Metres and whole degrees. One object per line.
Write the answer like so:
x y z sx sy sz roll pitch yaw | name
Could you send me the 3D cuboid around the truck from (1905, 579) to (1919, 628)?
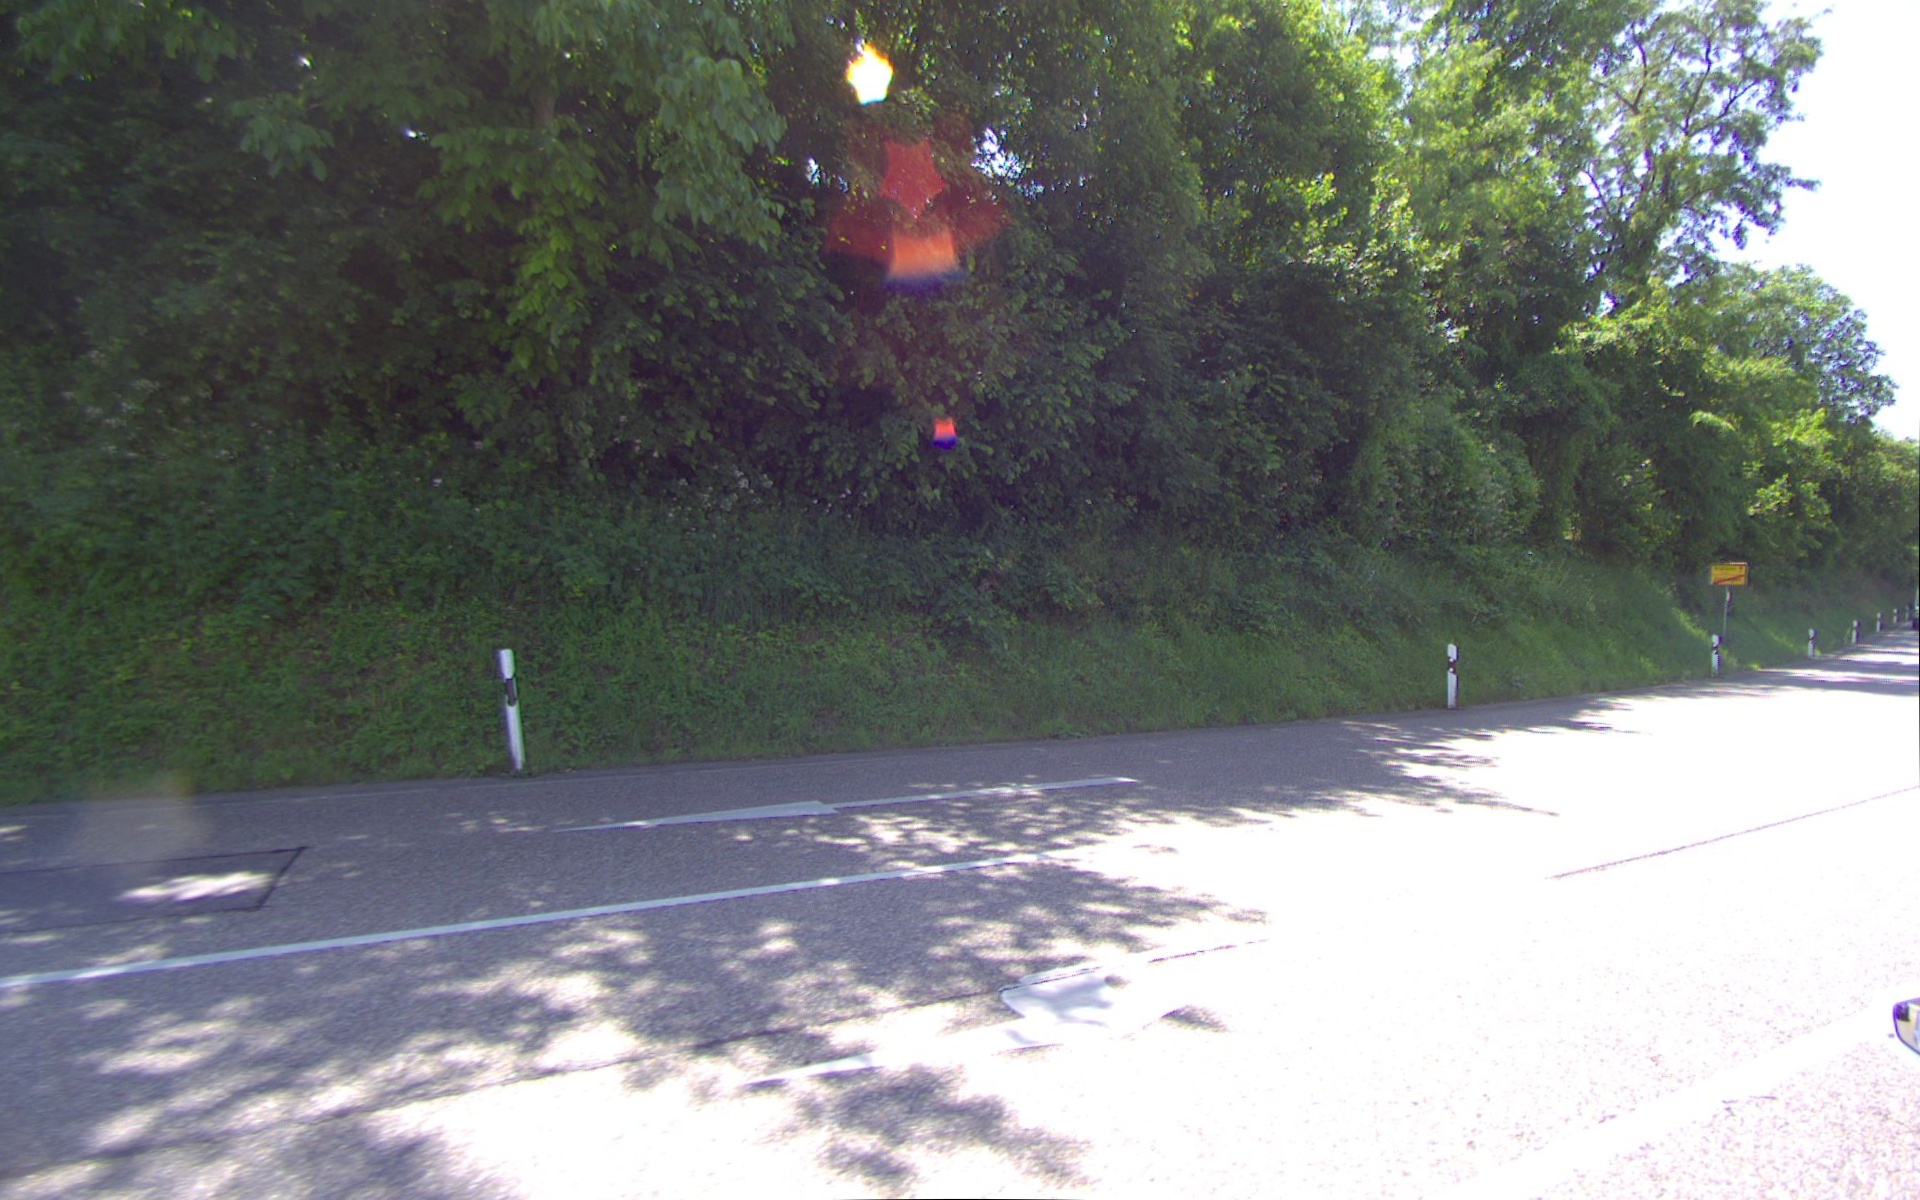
56.531 0.168 58.407 5.941 2.723 2.032 -1 3 -45 | truck
